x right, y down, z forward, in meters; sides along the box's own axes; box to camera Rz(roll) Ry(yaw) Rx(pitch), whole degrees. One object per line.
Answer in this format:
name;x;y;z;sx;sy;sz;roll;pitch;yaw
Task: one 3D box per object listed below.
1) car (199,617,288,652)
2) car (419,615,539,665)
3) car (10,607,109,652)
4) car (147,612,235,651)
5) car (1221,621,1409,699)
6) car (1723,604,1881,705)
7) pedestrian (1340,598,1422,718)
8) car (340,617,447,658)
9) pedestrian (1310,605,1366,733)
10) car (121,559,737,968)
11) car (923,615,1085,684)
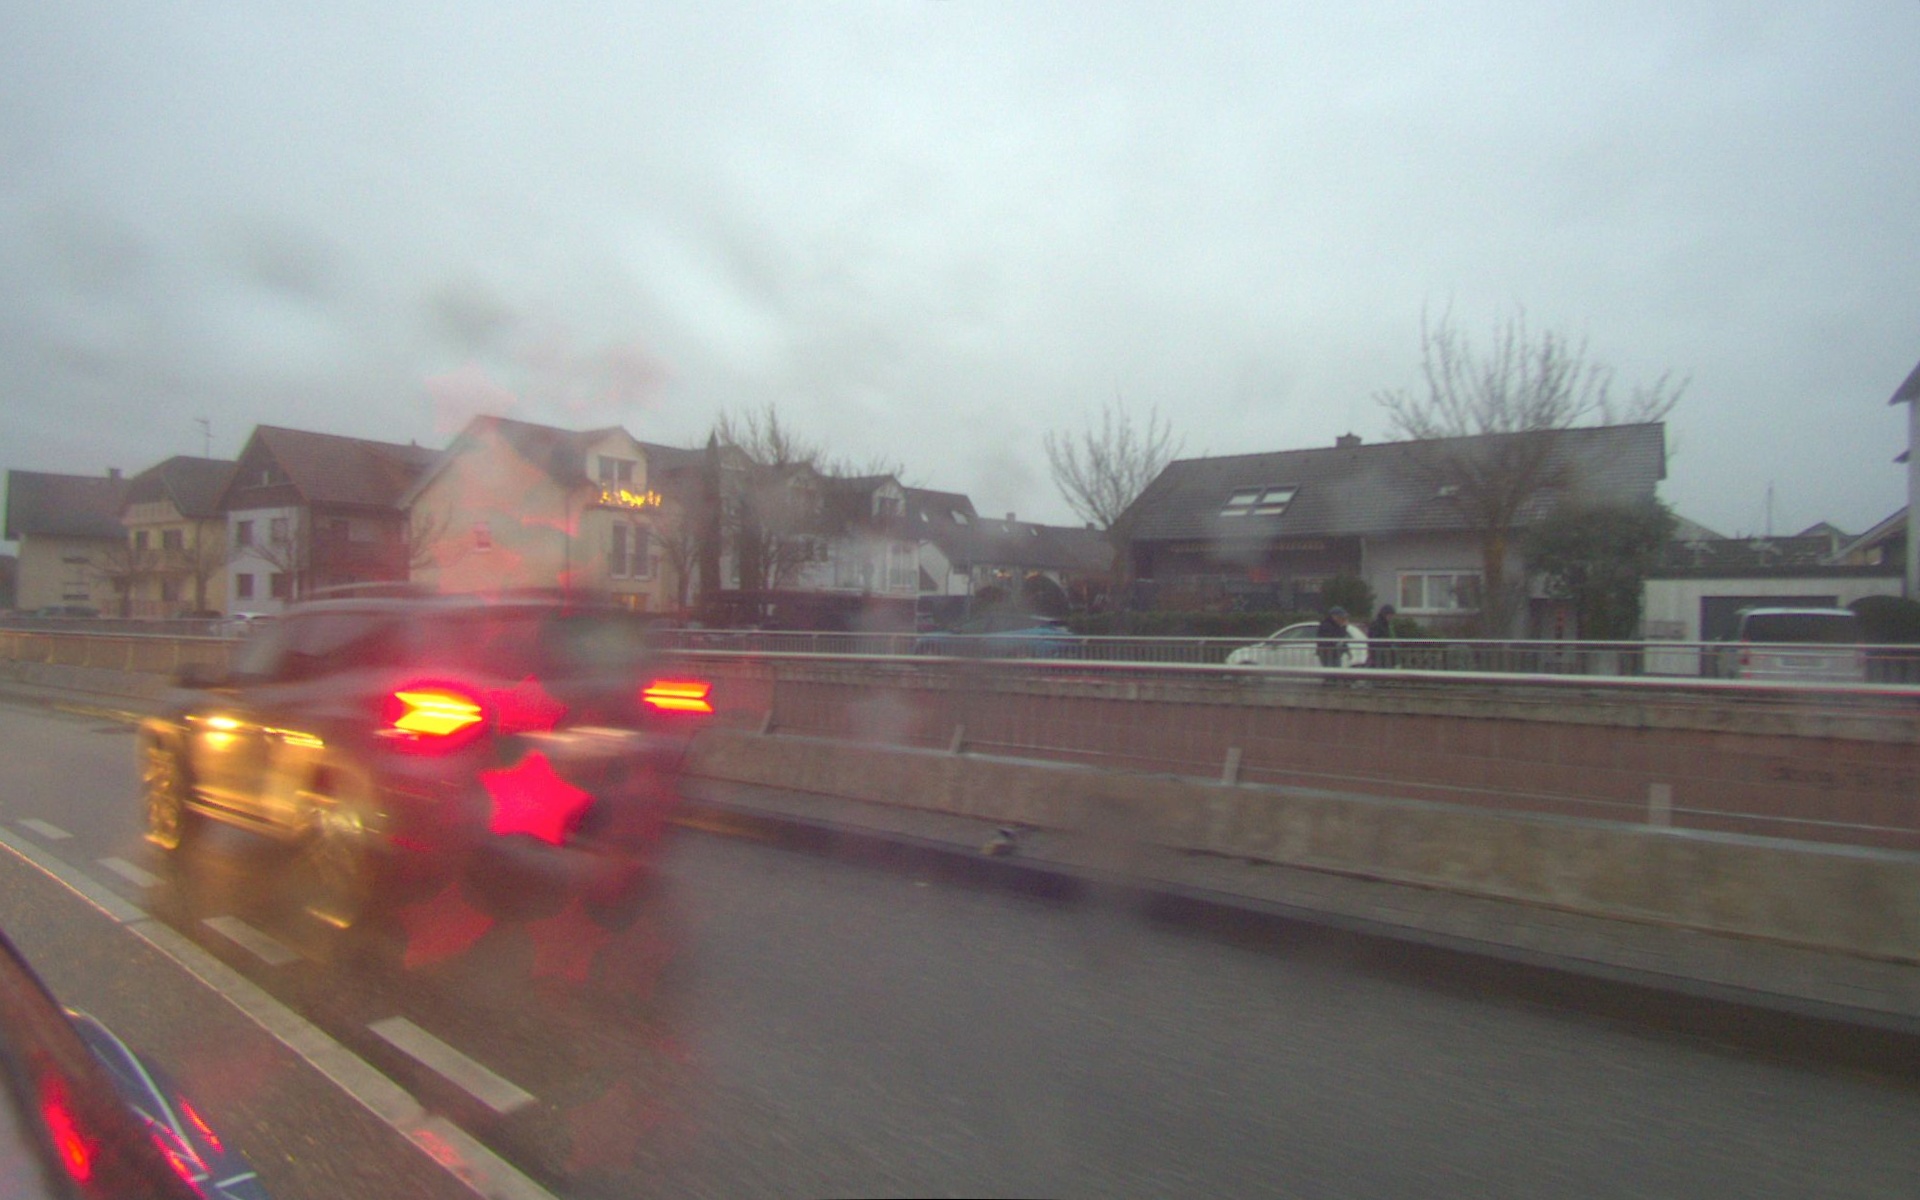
car;-33.158;1.576;46.832;4.013;1.535;1.757;0;-1;28
car;-18.172;1.520;38.215;4.483;1.792;1.861;-1;-3;30
car;-38.720;1.248;43.501;3.838;1.817;1.790;0;-1;25
car;-36.902;1.470;48.560;3.982;1.694;1.847;0;1;28
car;7.355;1.186;21.072;3.453;1.438;1.469;0;-1;36
car;15.902;1.018;19.318;1.859;1.707;3.954;-1;-3;34
pedestrian;6.604;0.881;15.871;0.972;1.798;0.919;-1;0;38
car;-23.073;1.538;41.186;4.207;1.611;1.861;-1;-3;30
pedestrian;5.247;0.934;14.050;0.540;1.710;0.657;-1;-1;38
car;-3.319;0.719;6.040;3.993;1.666;1.721;-1;-2;37
car;1.086;1.231;25.651;3.808;1.592;1.553;0;-3;32
